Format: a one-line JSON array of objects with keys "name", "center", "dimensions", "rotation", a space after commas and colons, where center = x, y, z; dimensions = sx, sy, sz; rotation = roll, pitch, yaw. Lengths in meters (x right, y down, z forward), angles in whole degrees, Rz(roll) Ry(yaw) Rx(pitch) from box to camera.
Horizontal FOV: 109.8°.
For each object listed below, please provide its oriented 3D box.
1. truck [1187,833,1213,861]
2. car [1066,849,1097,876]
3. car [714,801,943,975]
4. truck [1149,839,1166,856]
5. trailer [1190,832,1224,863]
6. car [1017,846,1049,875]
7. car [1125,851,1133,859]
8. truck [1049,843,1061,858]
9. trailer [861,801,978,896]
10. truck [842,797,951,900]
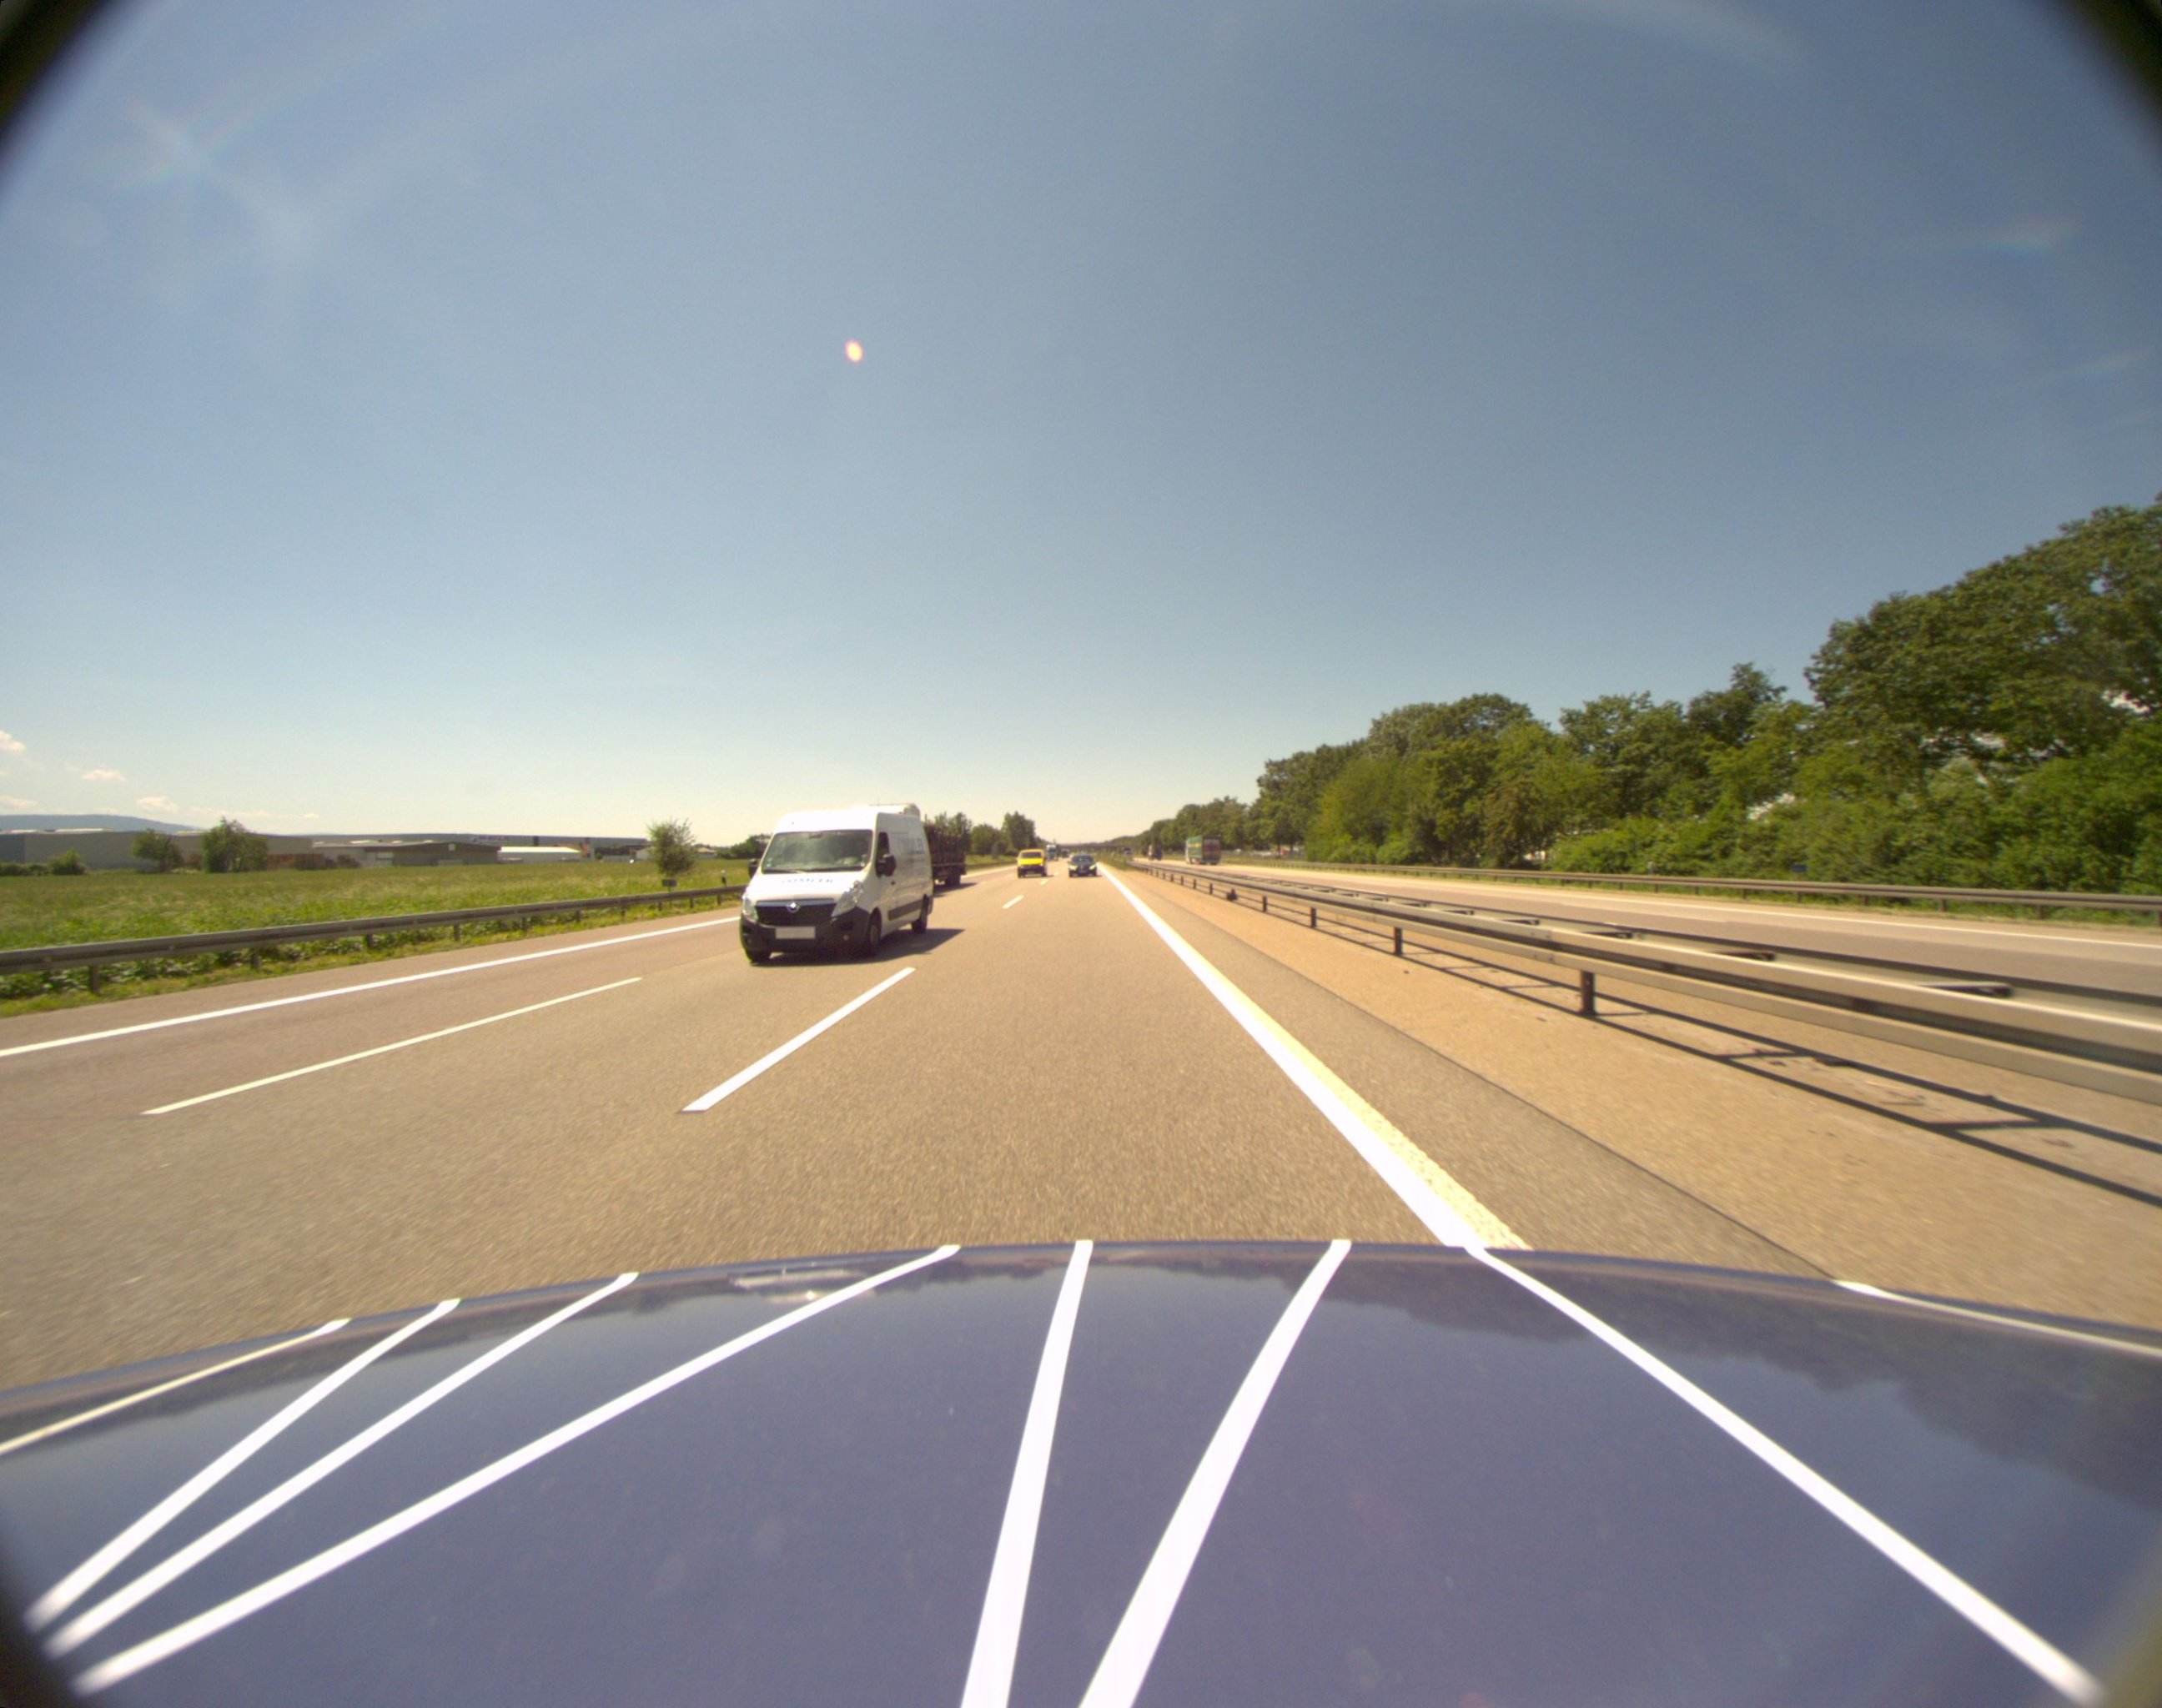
[{"name": "truck", "center": [17.911, -1.038, 114.606], "dimensions": [2.884, 4.020, 6.332], "rotation": [1, 1, 1]}, {"name": "car", "center": [0.071, 0.538, 50.739], "dimensions": [1.689, 1.646, 3.463], "rotation": [-2, 1, 6]}, {"name": "car", "center": [-4.276, 0.475, 14.222], "dimensions": [2.159, 2.494, 5.945], "rotation": [-2, 1, 0]}, {"name": "truck", "center": [18.452, -1.587, 184.228], "dimensions": [3.012, 3.769, 9.600], "rotation": [-1, 1, 0]}, {"name": "trailer", "center": [17.764, -0.968, 108.158], "dimensions": [2.884, 4.020, 13.680], "rotation": [1, 1, 1]}, {"name": "car", "center": [-3.360, 0.425, 53.977], "dimensions": [1.958, 1.939, 3.999], "rotation": [-2, 1, 0]}, {"name": "car", "center": [14.370, 0.221, 227.540], "dimensions": [2.318, 2.275, 5.603], "rotation": [1, 0, 1]}, {"name": "truck", "center": [-6.483, -0.817, 190.008], "dimensions": [2.976, 3.626, 7.148], "rotation": [-2, 1, -2]}, {"name": "trailer", "center": [-7.884, -0.274, 39.538], "dimensions": [2.699, 3.943, 13.960], "rotation": [-2, 0, 1]}, {"name": "truck", "center": [-7.979, -0.239, 34.018], "dimensions": [2.699, 3.943, 7.703], "rotation": [-2, 0, 1]}]
